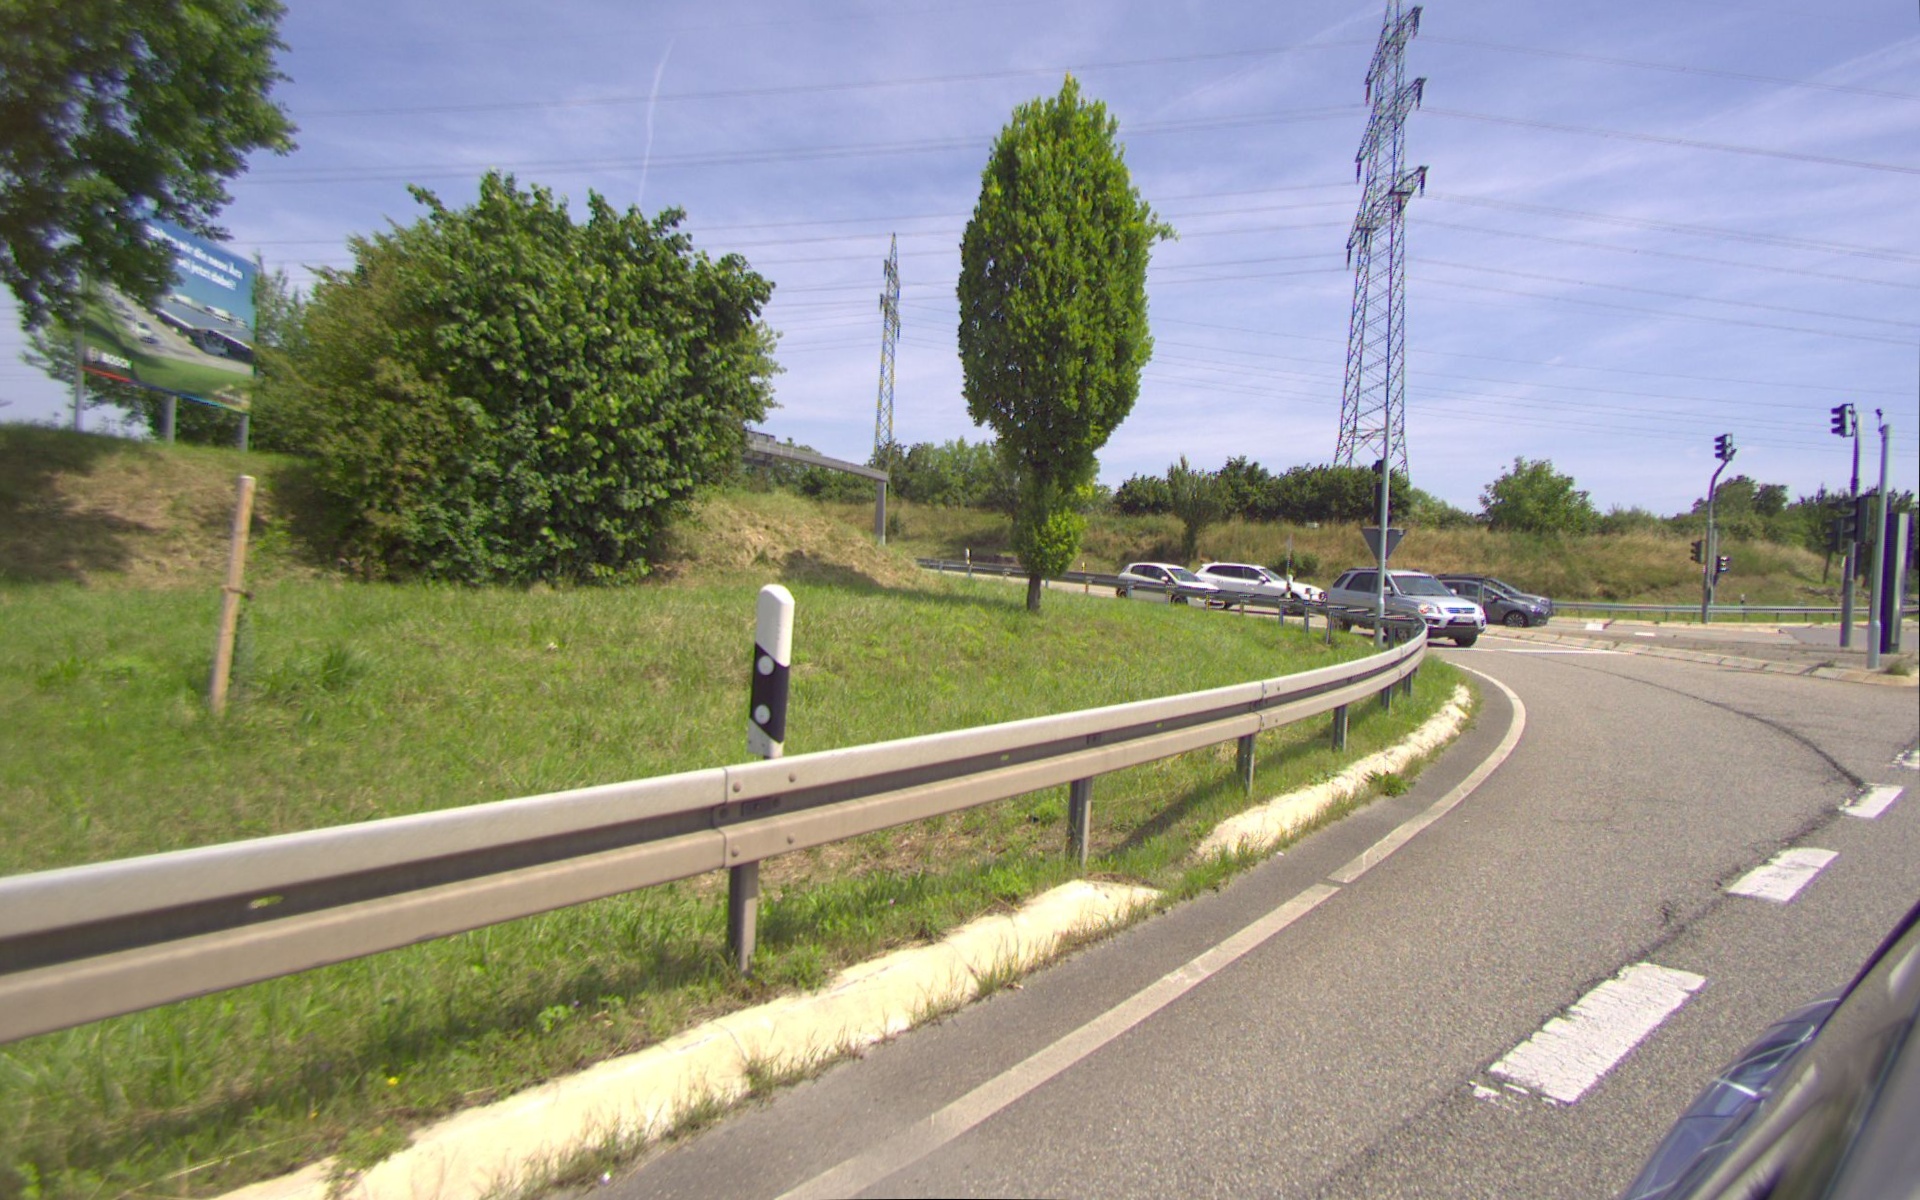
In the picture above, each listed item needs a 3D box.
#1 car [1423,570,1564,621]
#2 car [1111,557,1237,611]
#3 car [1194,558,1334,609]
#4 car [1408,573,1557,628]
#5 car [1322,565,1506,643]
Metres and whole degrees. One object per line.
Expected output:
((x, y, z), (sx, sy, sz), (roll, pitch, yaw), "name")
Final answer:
((19.456, -0.197, 36.984), (4.344, 1.529, 1.695), (5, 2, 34), "car")
((7.056, -0.564, 33.770), (1.747, 1.619, 4.003), (0, 3, -34), "car")
((10.534, -0.607, 35.182), (4.345, 1.612, 1.758), (2, 3, 35), "car")
((16.264, -0.033, 31.542), (3.970, 1.529, 1.697), (2, 2, 32), "car")
((10.676, 0.025, 24.215), (1.798, 1.675, 4.381), (1, 2, -10), "car")
